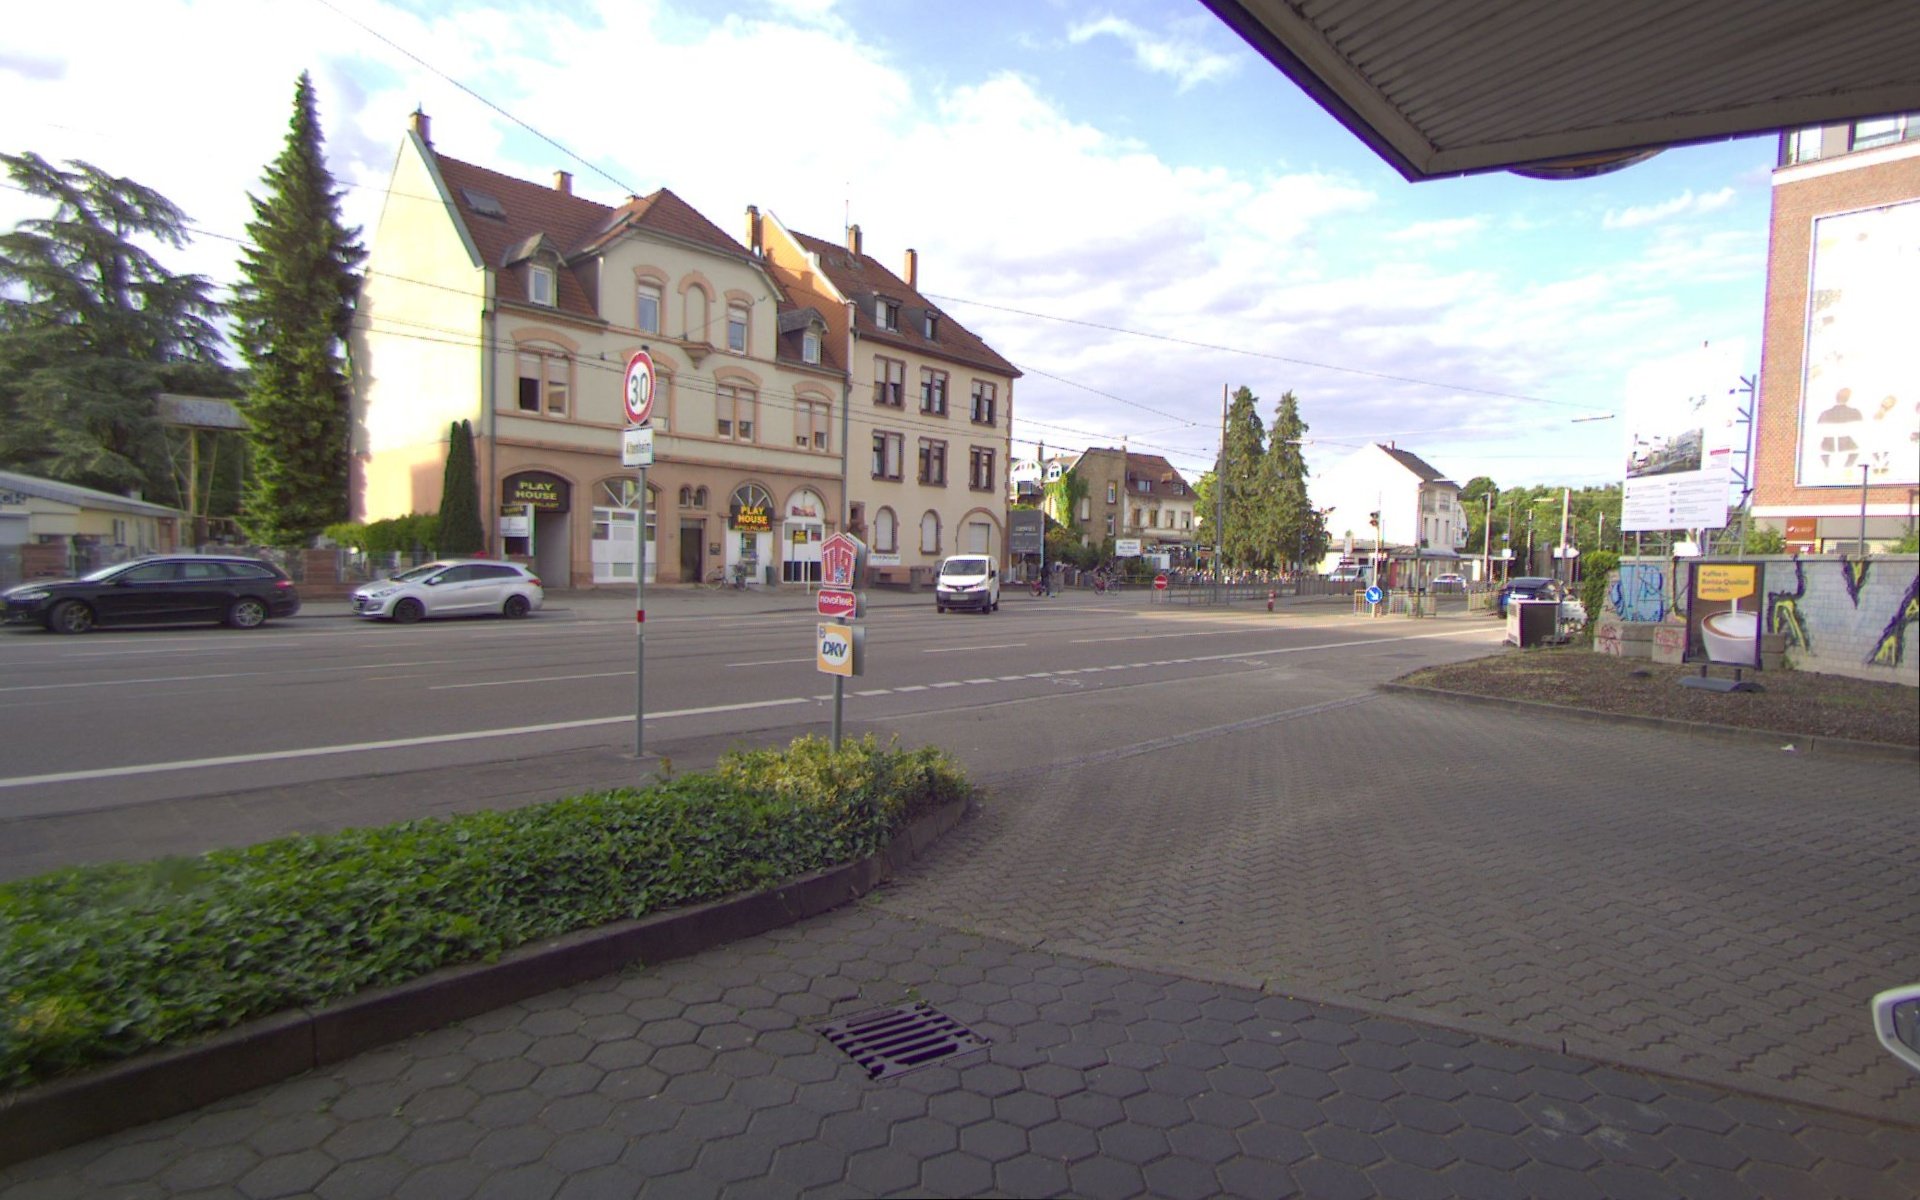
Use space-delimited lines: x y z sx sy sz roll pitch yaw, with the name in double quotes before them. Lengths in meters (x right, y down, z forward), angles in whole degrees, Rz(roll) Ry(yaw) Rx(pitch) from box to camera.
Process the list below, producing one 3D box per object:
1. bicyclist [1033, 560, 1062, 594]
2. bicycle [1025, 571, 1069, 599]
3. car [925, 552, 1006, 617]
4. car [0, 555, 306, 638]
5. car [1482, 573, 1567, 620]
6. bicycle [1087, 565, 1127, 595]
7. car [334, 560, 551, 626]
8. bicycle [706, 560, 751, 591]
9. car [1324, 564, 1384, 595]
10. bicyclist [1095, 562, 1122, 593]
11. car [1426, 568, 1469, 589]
"bicyclist" 4.231 -1.117 48.632 0.953 1.579 0.839 1 6 -31
"bicycle" 4.213 -0.734 48.672 1.884 1.219 0.839 1 6 -31
"car" 0.267 -0.541 33.000 1.929 1.915 4.413 2 2 10
"car" -16.568 -0.145 20.728 1.970 1.516 4.801 3 3 40
"car" 22.579 -0.149 40.083 1.745 1.679 4.822 5 4 43
"bicycle" 7.767 -1.055 52.976 1.967 1.512 0.782 1 4 -29
"car" -12.999 -0.244 25.460 1.970 1.495 4.467 3 3 40
"bicycle" -9.140 -0.953 39.704 0.508 1.189 1.809 4 2 40
"car" 26.242 -1.394 66.794 1.972 1.995 4.859 3 3 44
"bicyclist" 7.815 -1.189 52.982 1.083 1.512 0.782 1 4 -29
"car" 38.939 -1.736 80.142 1.815 1.598 4.354 2 3 44
